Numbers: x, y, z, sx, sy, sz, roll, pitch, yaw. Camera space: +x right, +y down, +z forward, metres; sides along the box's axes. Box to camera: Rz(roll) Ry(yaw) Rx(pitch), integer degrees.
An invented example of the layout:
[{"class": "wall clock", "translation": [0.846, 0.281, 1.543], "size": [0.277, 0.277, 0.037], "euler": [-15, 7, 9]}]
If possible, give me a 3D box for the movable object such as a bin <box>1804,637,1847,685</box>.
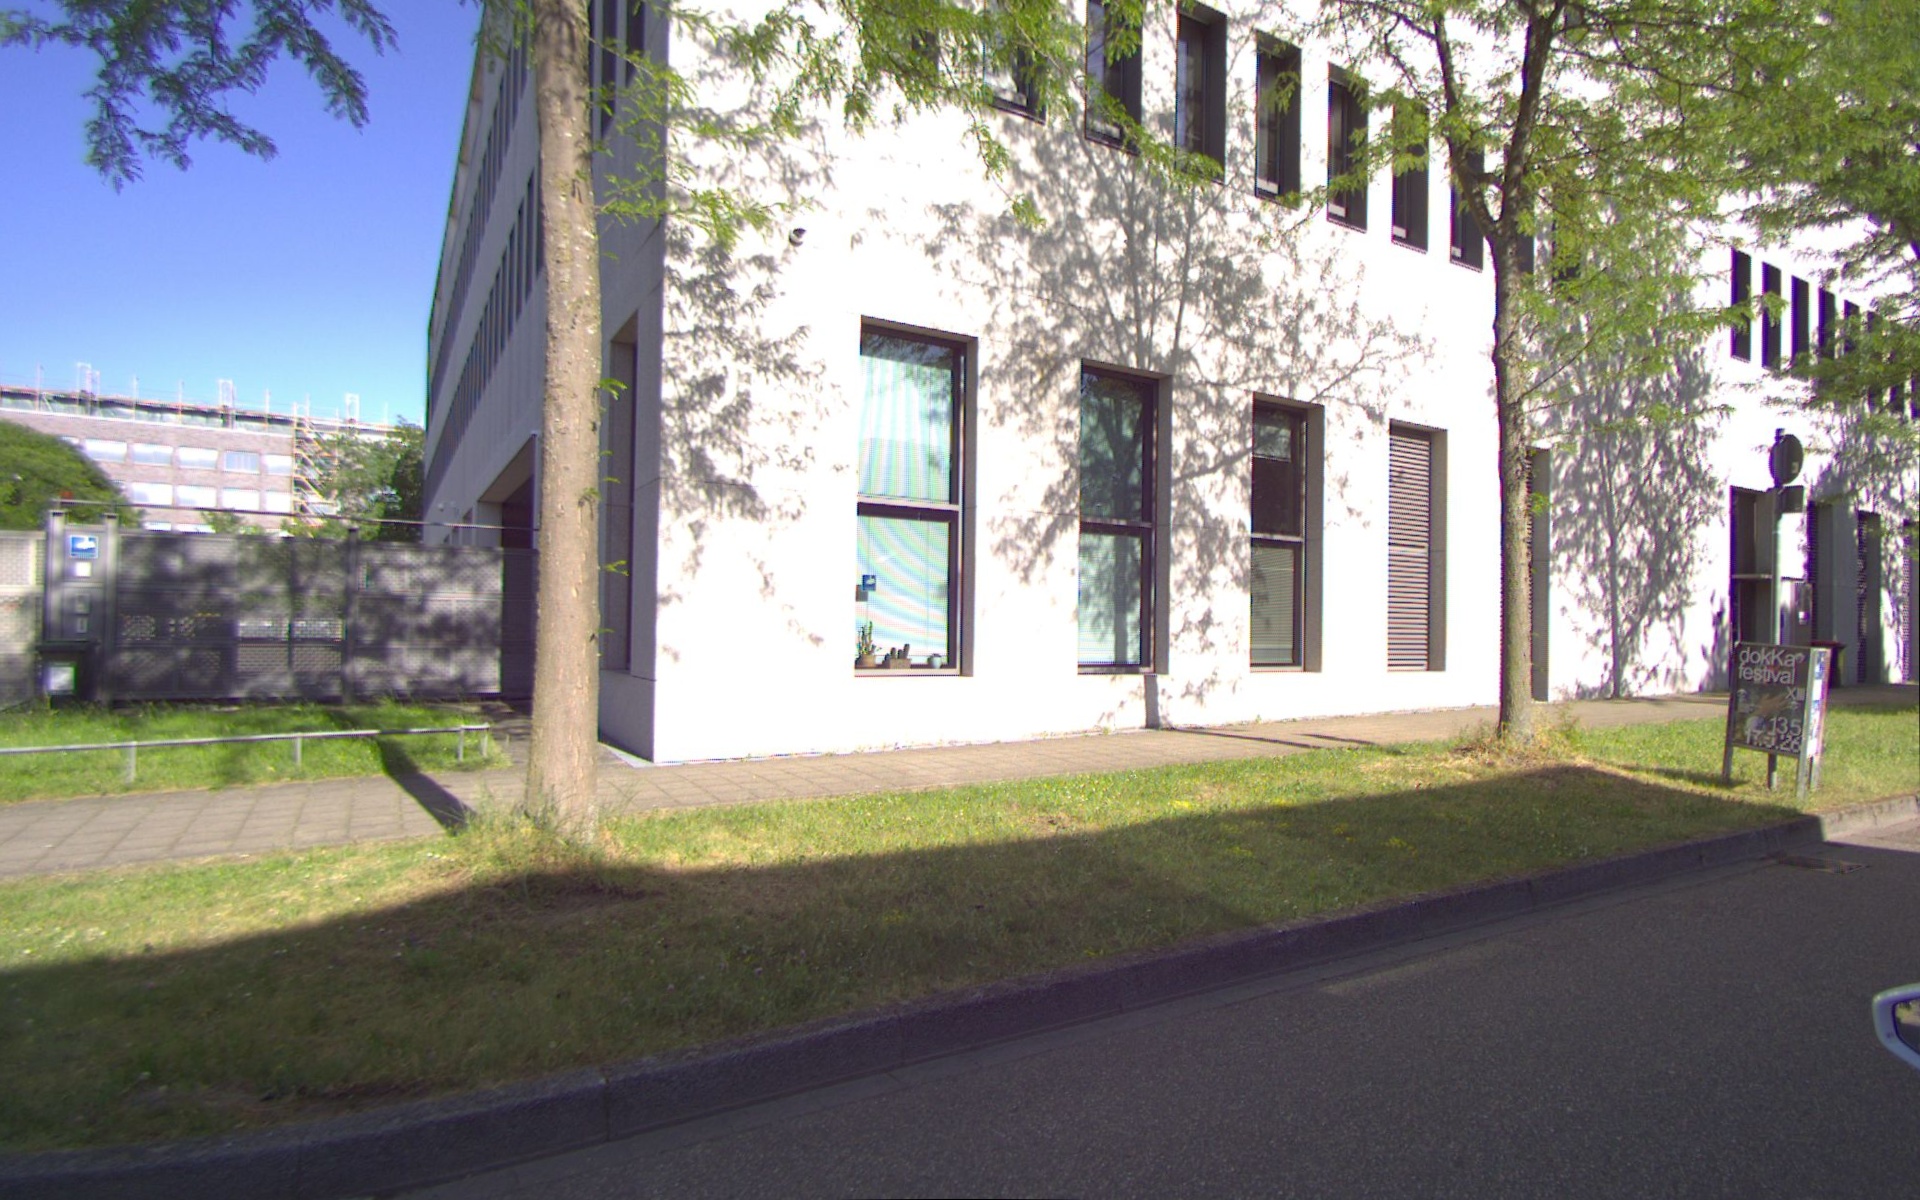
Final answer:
[{"class": "movable object such as a bin", "translation": [19.735, 1.388, 22.907], "size": [0.537, 1.054, 0.590], "euler": [1, 0, -32]}]
